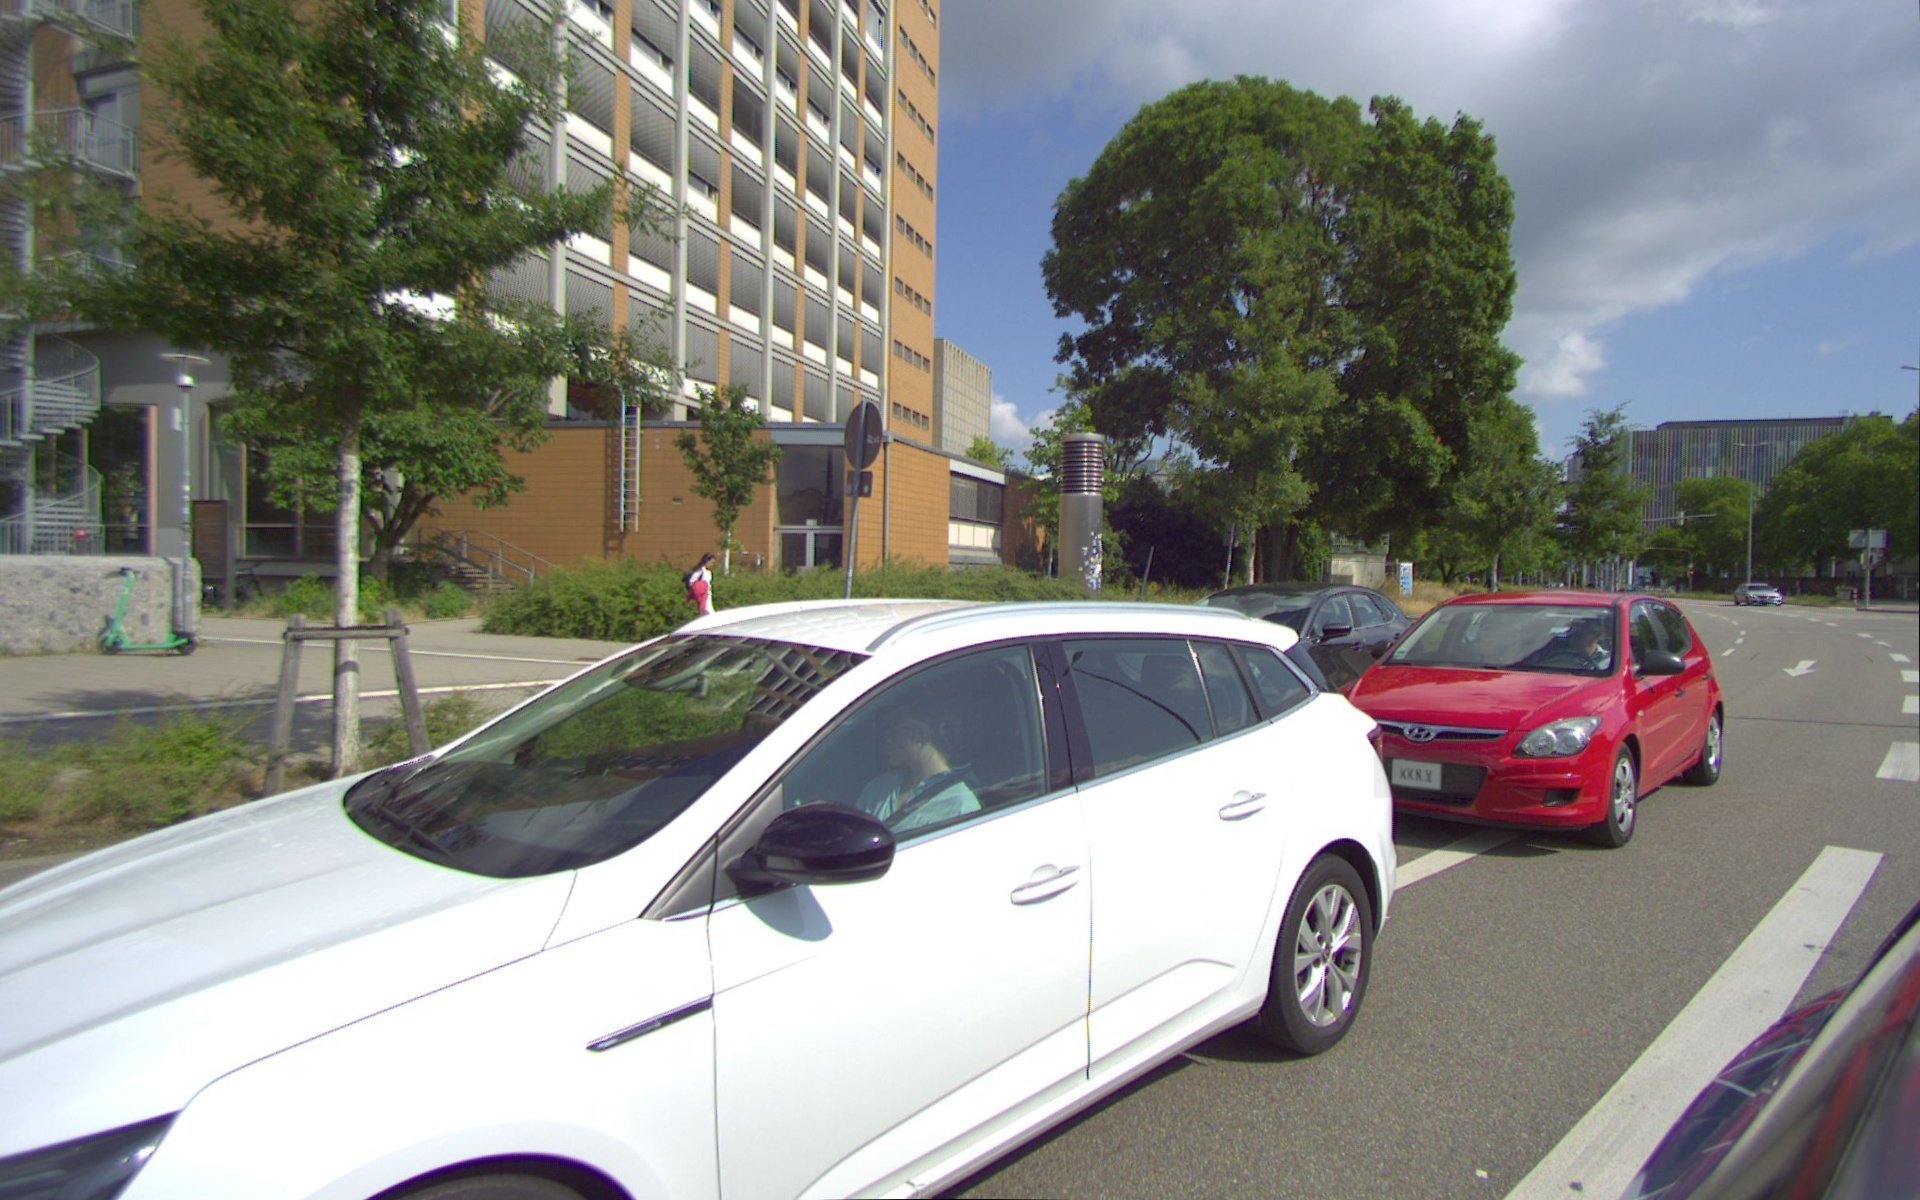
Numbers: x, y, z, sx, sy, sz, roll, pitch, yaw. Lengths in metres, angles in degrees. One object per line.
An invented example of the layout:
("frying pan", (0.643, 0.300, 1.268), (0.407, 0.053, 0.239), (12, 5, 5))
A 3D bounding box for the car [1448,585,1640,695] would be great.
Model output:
("car", (8.996, 0.511, 15.443), (1.583, 1.402, 4.013), (0, 1, 45))

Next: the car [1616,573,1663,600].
("car", (47.170, -0.961, 70.325), (1.978, 1.777, 3.968), (-1, 1, 24))

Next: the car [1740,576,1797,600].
("car", (53.461, -0.828, 67.012), (1.810, 1.544, 3.971), (1, 2, 22))

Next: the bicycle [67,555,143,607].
("bicycle", (-21.351, -0.484, 25.304), (0.423, 1.263, 1.466), (1, 1, 18))

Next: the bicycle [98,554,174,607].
("bicycle", (-20.368, -0.486, 25.039), (0.423, 1.263, 1.466), (1, 1, 18))

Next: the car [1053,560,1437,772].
("car", (2.875, 0.445, 9.657), (4.142, 1.596, 1.642), (-2, 1, -44))

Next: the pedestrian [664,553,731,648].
("pedestrian", (-4.544, -0.010, 17.538), (0.940, 1.598, 0.769), (1, 1, 2))

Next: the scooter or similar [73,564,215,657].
("scooter or similar", (-11.108, 0.137, 13.801), (1.506, 1.198, 0.435), (2, 1, -5))

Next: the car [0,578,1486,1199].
("car", (-0.251, 0.695, 3.079), (4.594, 1.447, 1.760), (-2, 1, -42))

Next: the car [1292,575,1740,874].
("car", (4.078, 0.597, 7.106), (3.998, 1.486, 1.642), (-2, 1, -44))
